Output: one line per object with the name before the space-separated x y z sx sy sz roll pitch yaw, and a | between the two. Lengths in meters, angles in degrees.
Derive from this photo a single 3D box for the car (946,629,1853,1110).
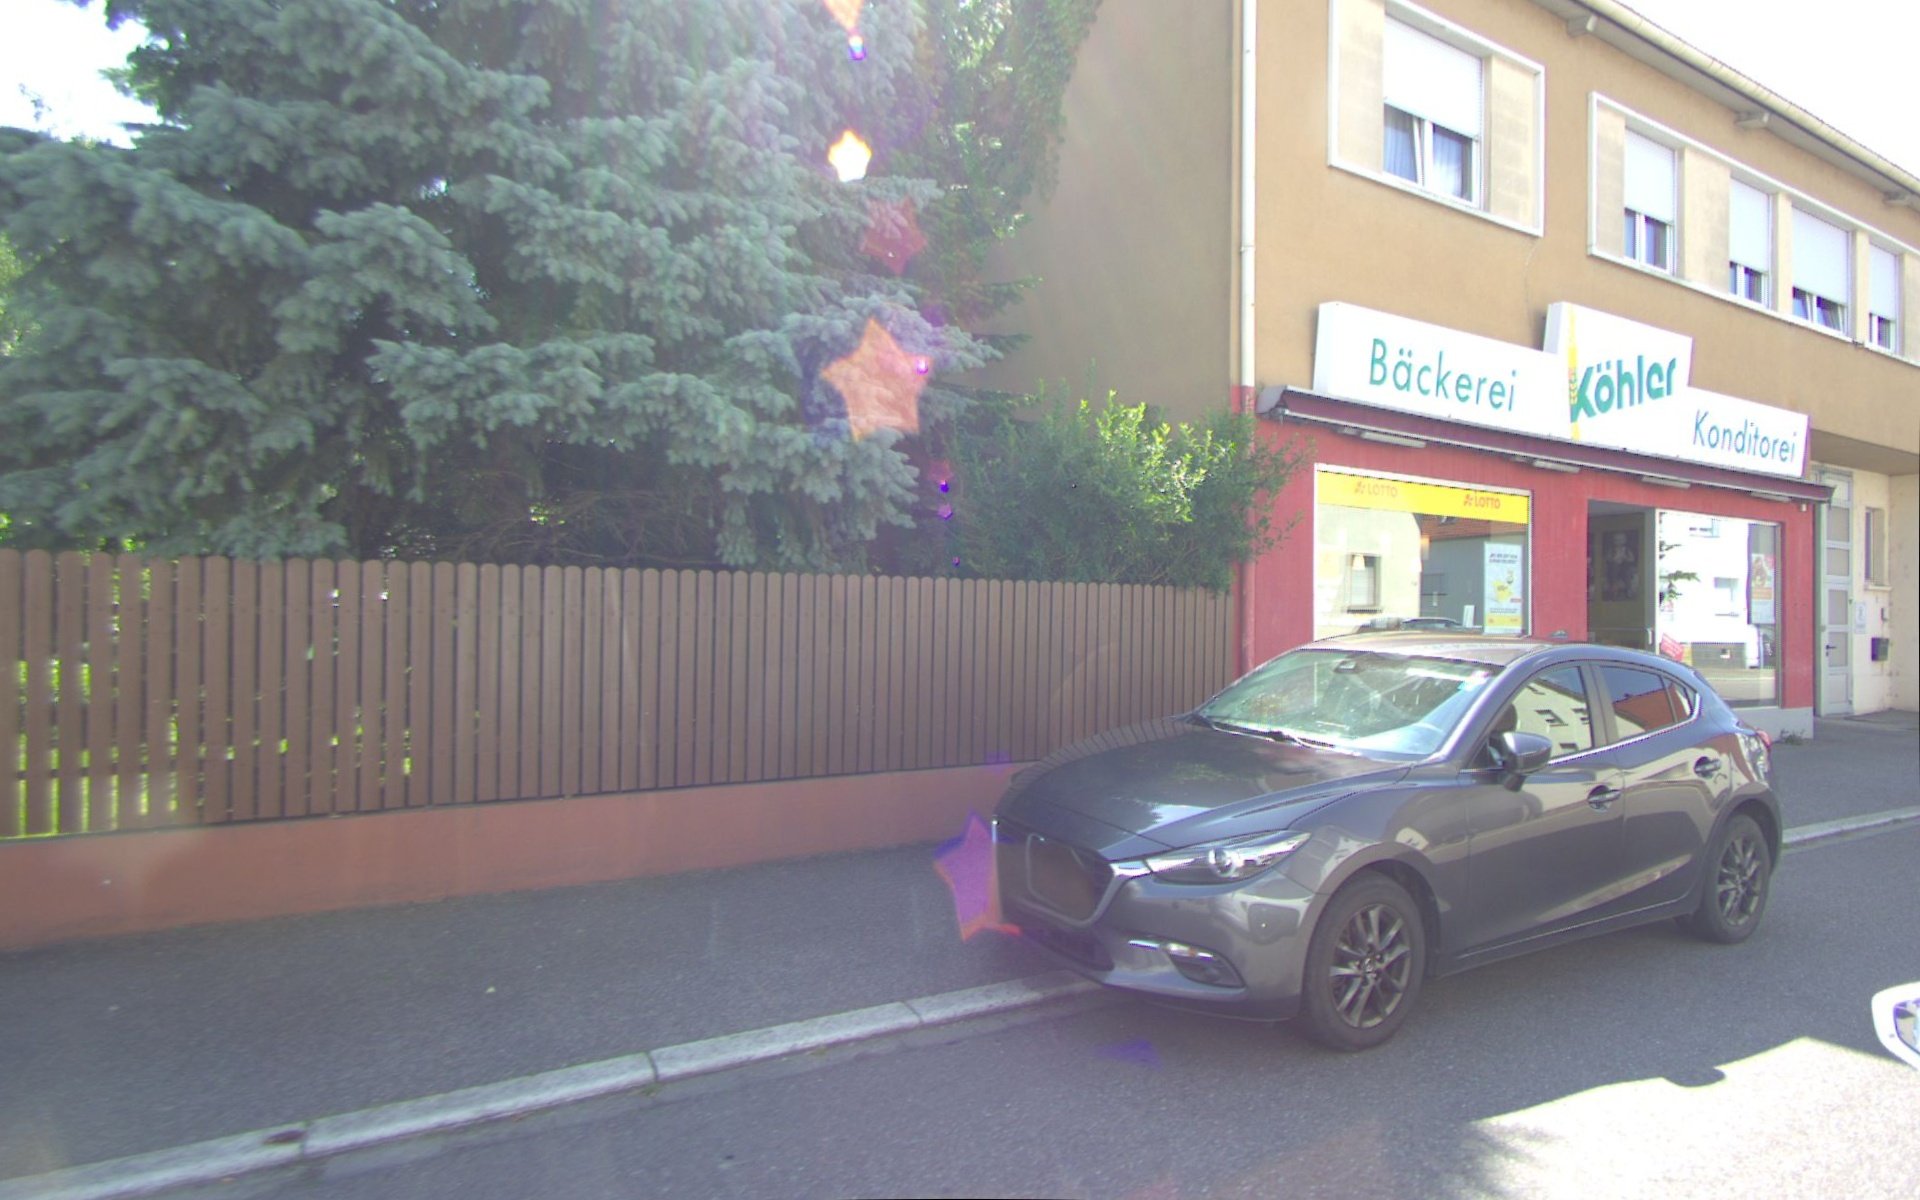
car | 2.272 0.899 4.946 4.380 1.479 1.761 1 -1 -28
